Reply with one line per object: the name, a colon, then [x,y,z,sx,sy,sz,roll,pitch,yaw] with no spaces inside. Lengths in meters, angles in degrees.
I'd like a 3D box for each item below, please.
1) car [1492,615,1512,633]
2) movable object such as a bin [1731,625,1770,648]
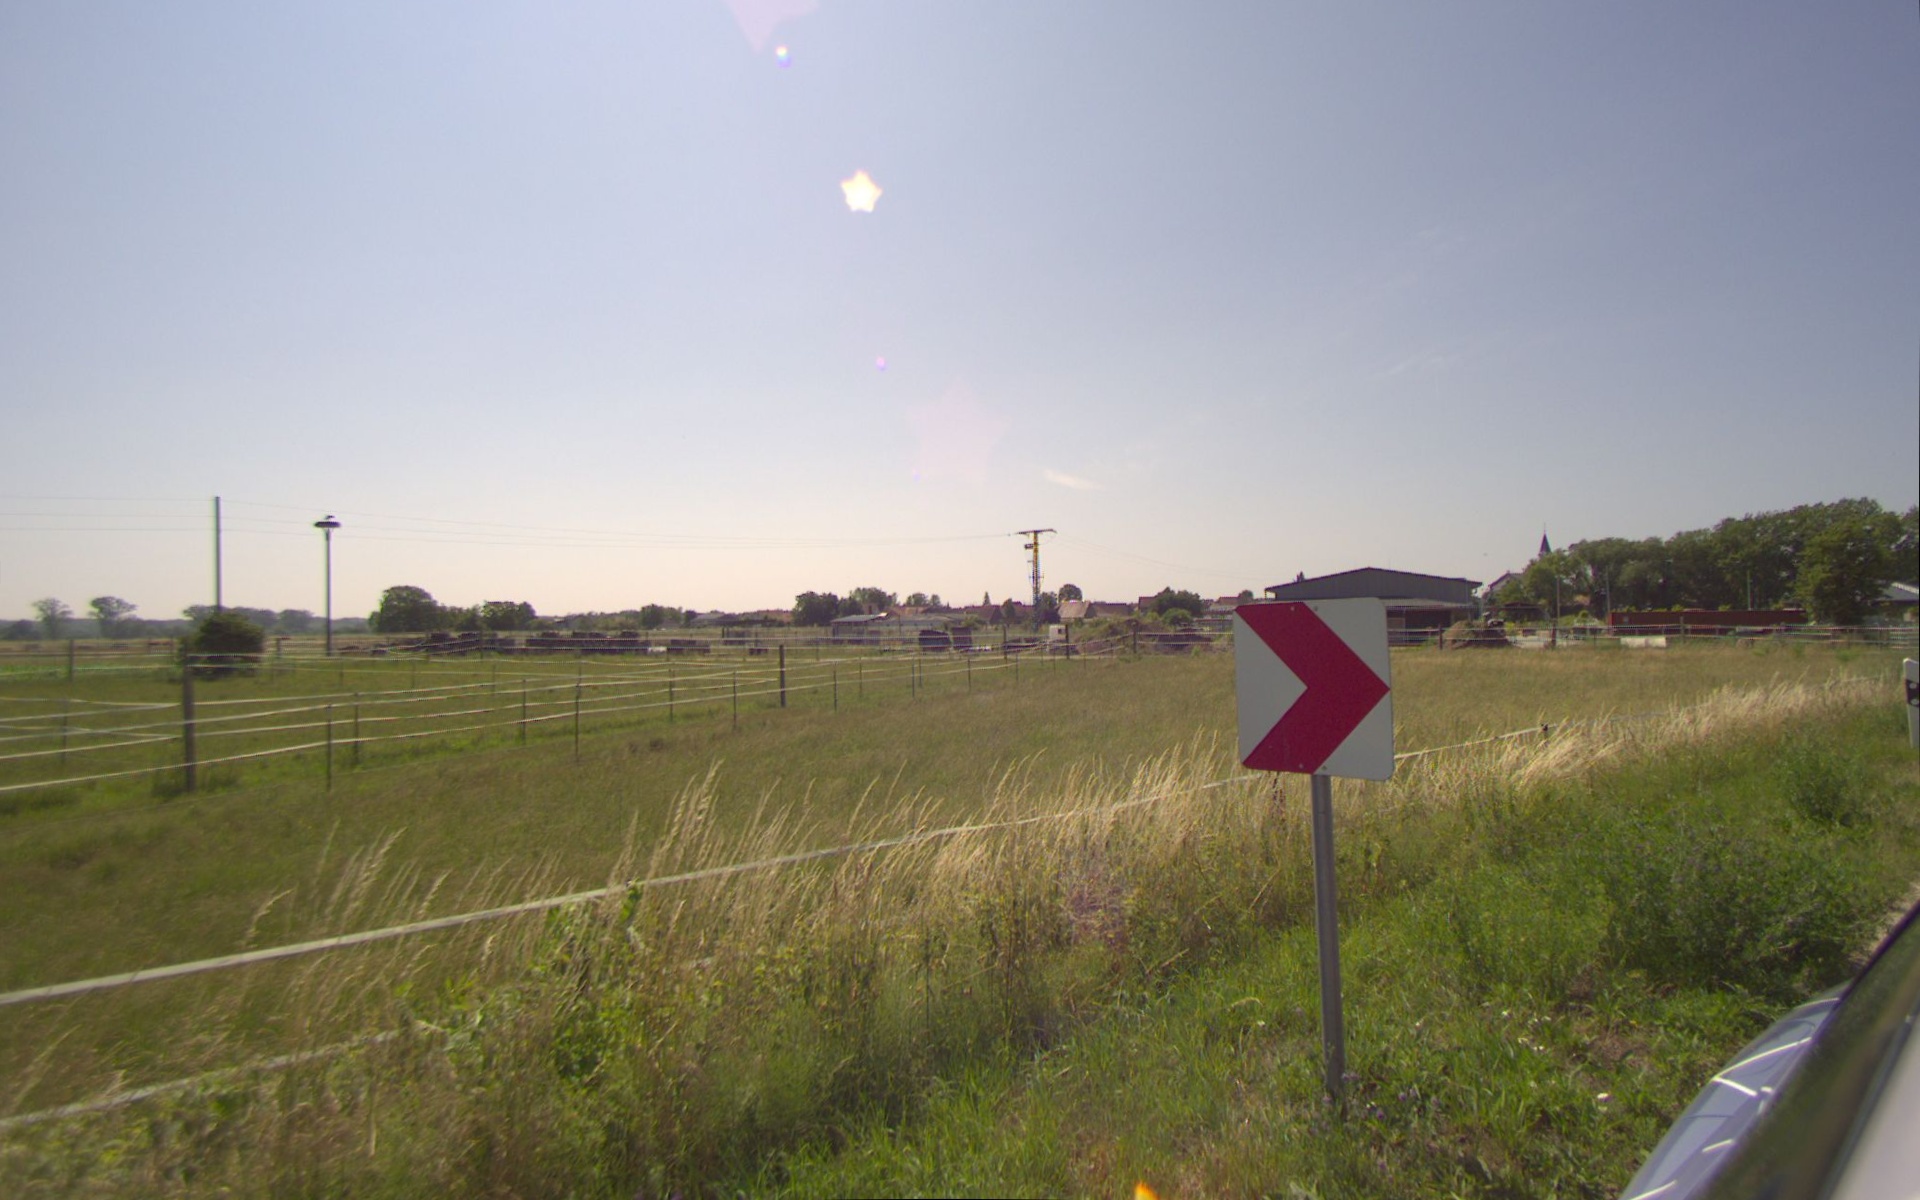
car: [67.778,3.005,126.547,1.980,2.040,3.962,-4,-3,26]
movable object such as a bin: [50.332,2.323,64.463,1.495,1.367,1.366,-2,-2,16]
